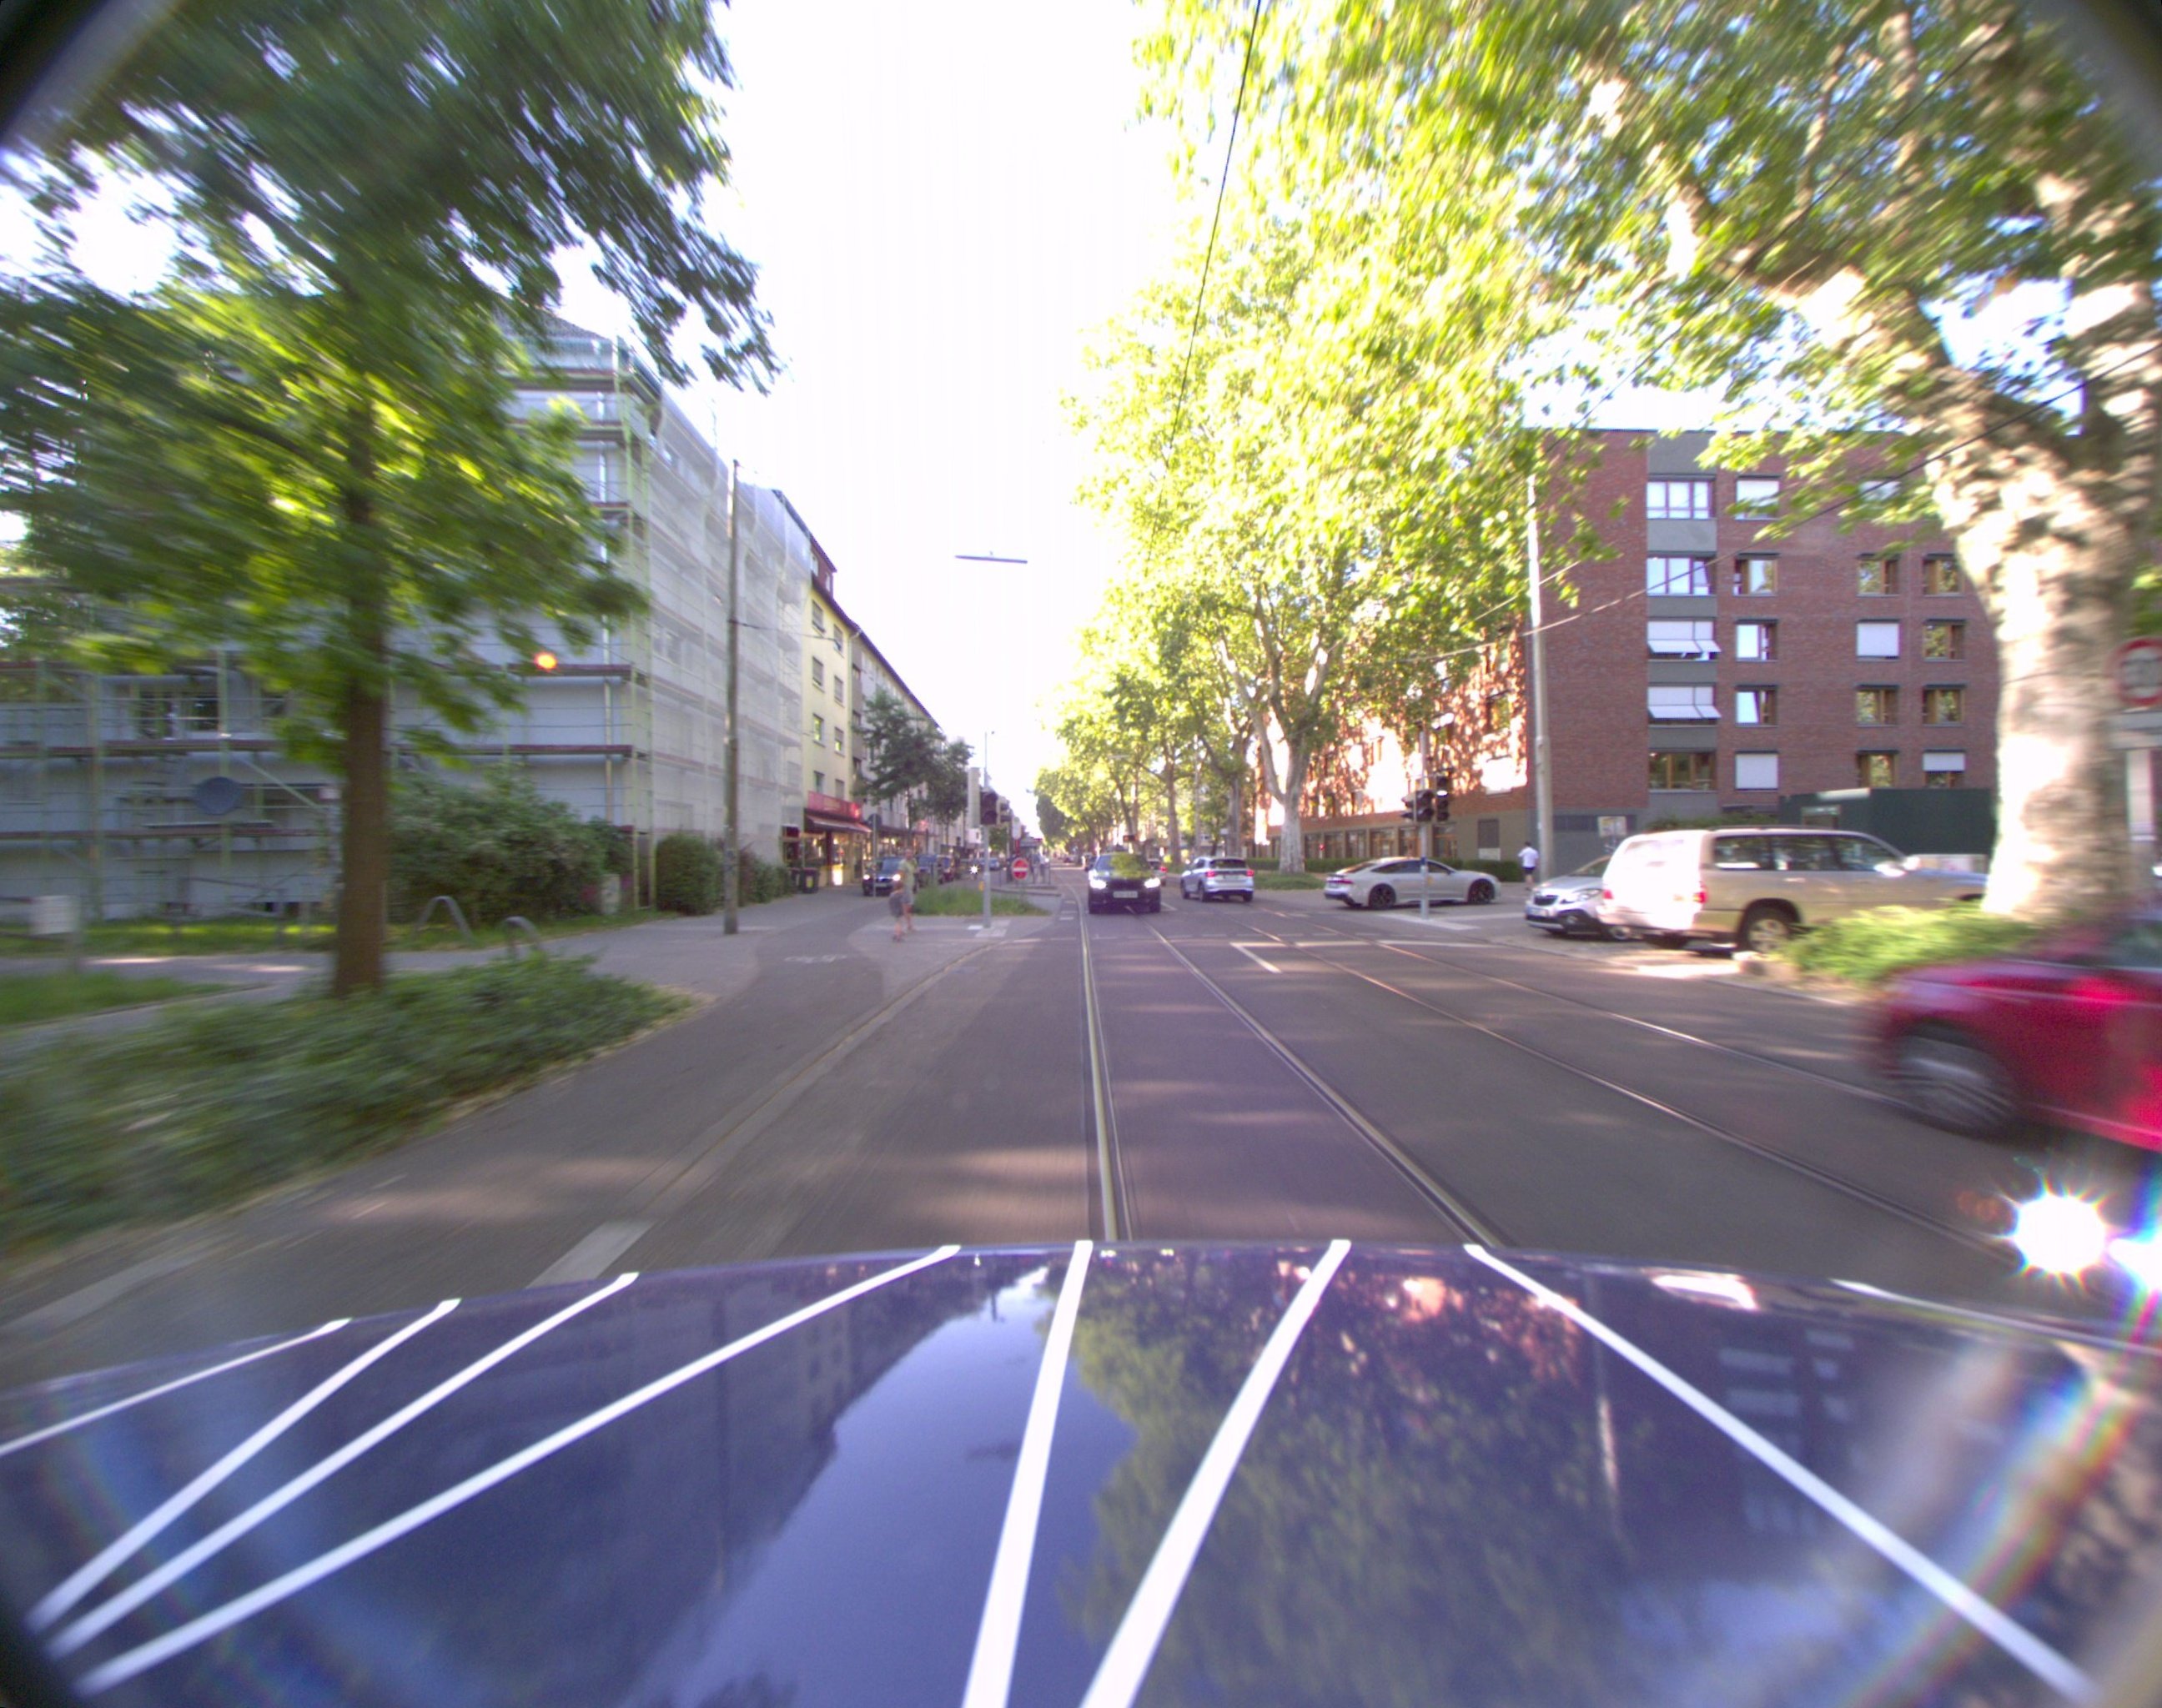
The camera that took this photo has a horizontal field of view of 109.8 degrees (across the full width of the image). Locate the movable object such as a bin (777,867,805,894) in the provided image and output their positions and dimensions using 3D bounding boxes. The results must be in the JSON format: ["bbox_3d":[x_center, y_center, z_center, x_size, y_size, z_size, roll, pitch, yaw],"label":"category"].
[{"bbox_3d":[-11.854,1.081,31.090,0.883,1.104,0.697,0,1,-5],"label":"movable object such as a bin"}]

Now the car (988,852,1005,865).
[{"bbox_3d":[-11.324,0.594,101.896,1.999,1.572,3.999,-2,1,-2],"label":"car"}]

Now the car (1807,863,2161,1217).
[{"bbox_3d":[5.350,0.792,2.963,1.665,1.435,3.472,-1,1,-2],"label":"car"}]

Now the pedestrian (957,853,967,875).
[{"bbox_3d":[-9.946,0.843,63.393,0.680,1.794,0.772,-2,2,-5],"label":"pedestrian"}]

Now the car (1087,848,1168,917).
[{"bbox_3d":[1.248,0.737,22.512,1.937,1.718,5.072,-3,0,-1],"label":"car"}]

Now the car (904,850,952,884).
[{"bbox_3d":[-9.021,0.741,45.118,1.999,1.885,4.193,0,0,-1],"label":"car"}]

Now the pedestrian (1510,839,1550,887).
[{"bbox_3d":[16.459,0.320,27.843,0.845,1.727,0.915,-2,1,-7],"label":"pedestrian"}]

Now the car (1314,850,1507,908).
[{"bbox_3d":[9.478,0.690,22.088,4.778,1.452,1.954,-2,1,-4],"label":"car"}]

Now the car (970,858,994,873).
[{"bbox_3d":[-10.944,1.302,84.258,1.958,1.474,4.659,-3,0,-1],"label":"car"}]

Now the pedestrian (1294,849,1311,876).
[{"bbox_3d":[14.796,0.572,50.723,0.766,1.734,0.972,-2,1,-2],"label":"pedestrian"}]

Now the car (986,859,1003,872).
[{"bbox_3d":[-10.908,1.477,95.945,1.899,1.477,3.999,-2,1,-2],"label":"car"}]

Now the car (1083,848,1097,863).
[{"bbox_3d":[1.776,0.248,151.163,2.429,2.833,5.071,-3,1,-3],"label":"car"}]

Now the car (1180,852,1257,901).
[{"bbox_3d":[4.750,0.736,26.824,1.820,1.559,4.115,0,0,-2],"label":"car"}]

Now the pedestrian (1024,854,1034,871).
[{"bbox_3d":[-4.152,0.707,60.612,0.721,1.318,0.493,-2,1,-13],"label":"pedestrian"}]

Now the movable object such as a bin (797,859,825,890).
[{"bbox_3d":[-11.980,0.903,33.738,1.002,1.389,0.824,0,1,-5],"label":"movable object such as a bin"}]

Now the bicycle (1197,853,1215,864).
[{"bbox_3d":[15.022,0.515,91.213,2.098,1.182,0.882,-2,1,14],"label":"bicycle"}]

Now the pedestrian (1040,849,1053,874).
[{"bbox_3d":[-2.428,0.512,53.866,0.836,1.703,0.640,-2,1,-1],"label":"pedestrian"}]

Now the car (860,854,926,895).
[{"bbox_3d":[-7.963,0.849,32.523,1.767,1.612,4.441,1,0,-1],"label":"car"}]

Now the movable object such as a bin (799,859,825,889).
[{"bbox_3d":[-12.299,0.924,34.759,0.926,1.342,0.824,0,1,-5],"label":"movable object such as a bin"}]

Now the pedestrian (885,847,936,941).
[{"bbox_3d":[-3.608,0.814,16.040,0.871,1.874,0.996,-2,1,-20],"label":"pedestrian"}]

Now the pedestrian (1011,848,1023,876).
[{"bbox_3d":[-4.095,0.514,48.818,0.493,1.760,0.704,-2,1,12],"label":"pedestrian"}]

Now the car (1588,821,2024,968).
[{"bbox_3d":[10.381,0.532,11.147,4.583,1.823,1.938,-2,1,-1],"label":"car"}]

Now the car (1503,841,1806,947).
[{"bbox_3d":[10.266,0.660,13.817,4.151,1.637,1.901,-2,1,-4],"label":"car"}]

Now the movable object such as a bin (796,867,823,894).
[{"bbox_3d":[-11.282,1.087,31.610,0.883,1.104,0.697,0,1,-5],"label":"movable object such as a bin"}]

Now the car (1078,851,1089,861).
[{"bbox_3d":[0.562,0.426,169.104,2.143,2.274,4.963,-3,1,-3],"label":"car"}]

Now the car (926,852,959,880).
[{"bbox_3d":[-9.399,0.791,51.863,1.693,1.745,4.172,-2,1,-4],"label":"car"}]

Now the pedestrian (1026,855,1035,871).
[{"bbox_3d":[-4.094,0.715,61.097,0.586,1.297,0.526,-3,1,-13],"label":"pedestrian"}]

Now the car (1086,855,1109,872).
[{"bbox_3d":[1.752,1.002,82.020,1.999,1.706,5.141,-2,1,-3],"label":"car"}]

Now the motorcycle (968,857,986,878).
[{"bbox_3d":[-7.594,0.976,55.465,1.055,1.446,2.208,-2,1,-2],"label":"motorcycle"}]

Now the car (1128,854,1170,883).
[{"bbox_3d":[3.639,0.753,41.347,1.780,1.452,4.203,-2,1,-2],"label":"car"}]

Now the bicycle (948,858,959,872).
[{"bbox_3d":[-11.132,0.994,66.372,0.773,1.173,2.782,4,-1,-7],"label":"bicycle"}]

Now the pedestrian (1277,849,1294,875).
[{"bbox_3d":[13.159,0.505,48.933,0.740,1.662,0.968,-2,1,-1],"label":"pedestrian"}]

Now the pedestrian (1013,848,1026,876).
[{"bbox_3d":[-3.903,0.513,48.125,0.690,1.745,0.579,-2,1,-9],"label":"pedestrian"}]

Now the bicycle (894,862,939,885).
[{"bbox_3d":[-8.751,1.025,40.470,2.210,1.202,1.029,1,1,-3],"label":"bicycle"}]

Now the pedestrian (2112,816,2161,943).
[{"bbox_3d":[15.679,0.352,10.932,0.645,1.799,0.752,-2,1,3],"label":"pedestrian"}]

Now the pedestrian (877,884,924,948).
[{"bbox_3d":[-3.400,1.144,14.316,0.677,1.112,0.658,-2,1,-27],"label":"pedestrian"}]

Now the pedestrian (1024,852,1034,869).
[{"bbox_3d":[-4.947,0.596,72.591,0.648,1.567,0.855,-2,1,15],"label":"pedestrian"}]
